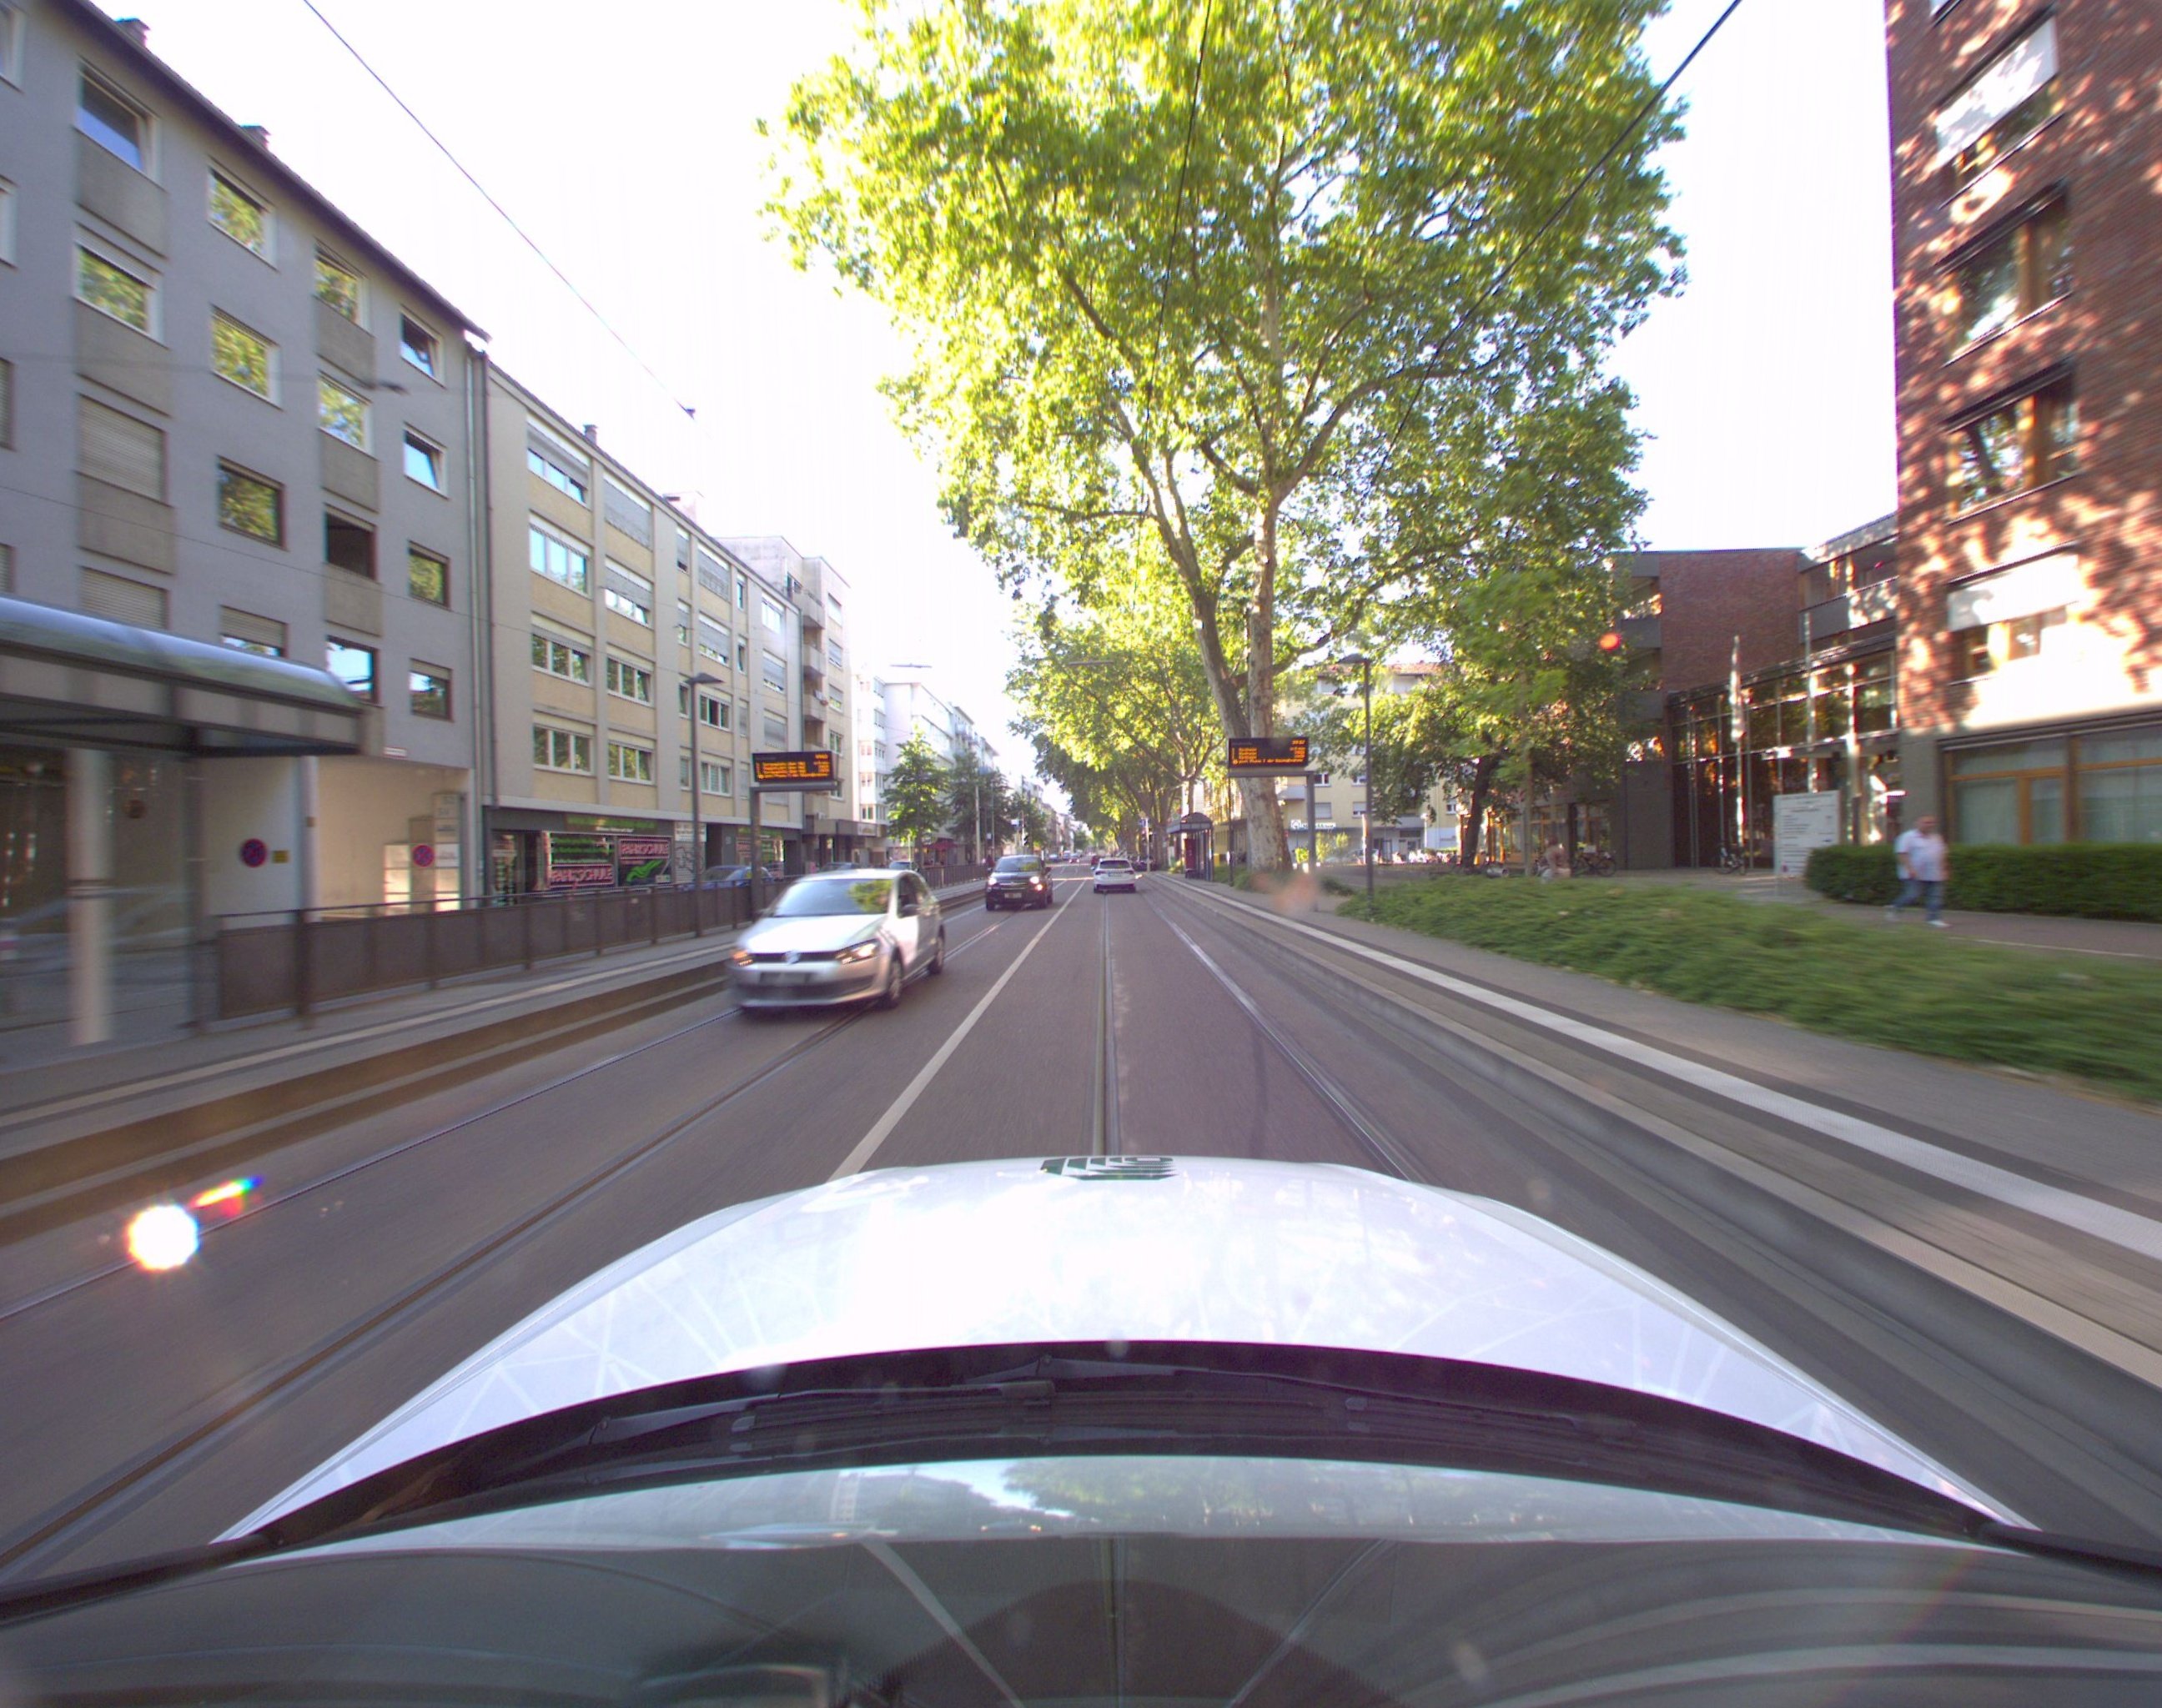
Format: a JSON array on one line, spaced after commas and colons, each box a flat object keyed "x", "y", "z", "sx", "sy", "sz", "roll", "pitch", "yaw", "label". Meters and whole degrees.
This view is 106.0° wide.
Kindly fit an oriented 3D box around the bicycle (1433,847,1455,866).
[{"x": 23.879, "y": 0.158, "z": 53.586, "sx": 0.659, "sy": 1.156, "sz": 1.698, "roll": -3, "pitch": 0, "yaw": 1, "label": "bicycle"}]

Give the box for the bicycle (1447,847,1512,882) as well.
[{"x": 14.533, "y": 0.388, "z": 29.728, "sx": 2.018, "sy": 1.156, "sz": 0.574, "roll": -3, "pitch": 0, "yaw": 11, "label": "bicycle"}]

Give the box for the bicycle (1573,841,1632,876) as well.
[{"x": 19.000, "y": 0.170, "z": 29.682, "sx": 1.669, "sy": 1.156, "sz": 0.573, "roll": -3, "pitch": 0, "yaw": 6, "label": "bicycle"}]

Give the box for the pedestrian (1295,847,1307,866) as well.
[{"x": 18.610, "y": 0.206, "z": 68.981, "sx": 0.694, "sy": 1.539, "sz": 0.695, "roll": -2, "pitch": 0, "yaw": 42, "label": "pedestrian"}]

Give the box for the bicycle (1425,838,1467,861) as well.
[{"x": 19.425, "y": -0.237, "z": 43.344, "sx": 1.913, "sy": 1.156, "sz": 0.575, "roll": -3, "pitch": 0, "yaw": 17, "label": "bicycle"}]

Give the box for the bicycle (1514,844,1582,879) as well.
[{"x": 17.047, "y": 0.264, "z": 29.758, "sx": 2.020, "sy": 1.156, "sz": 0.573, "roll": -3, "pitch": 0, "yaw": 6, "label": "bicycle"}]

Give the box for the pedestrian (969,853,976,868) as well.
[{"x": -12.524, "y": 0.784, "z": 94.348, "sx": 0.661, "sy": 1.691, "sz": 0.748, "roll": -1, "pitch": 0, "yaw": 0, "label": "pedestrian"}]

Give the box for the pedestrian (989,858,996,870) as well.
[{"x": -9.547, "y": 1.091, "z": 87.885, "sx": 0.713, "sy": 1.297, "sz": 0.908, "roll": -2, "pitch": 0, "yaw": -13, "label": "pedestrian"}]

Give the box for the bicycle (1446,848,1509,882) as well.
[{"x": 14.889, "y": 0.408, "z": 30.601, "sx": 2.023, "sy": 1.156, "sz": 0.572, "roll": -3, "pitch": 0, "yaw": 1, "label": "bicycle"}]

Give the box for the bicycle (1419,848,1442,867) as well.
[{"x": 23.034, "y": 0.232, "z": 53.679, "sx": 0.659, "sy": 1.156, "sz": 1.851, "roll": -3, "pitch": 0, "yaw": 1, "label": "bicycle"}]

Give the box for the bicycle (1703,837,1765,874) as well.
[{"x": 22.128, "y": 0.041, "z": 27.645, "sx": 0.701, "sy": 1.156, "sz": 2.044, "roll": -3, "pitch": 0, "yaw": 11, "label": "bicycle"}]

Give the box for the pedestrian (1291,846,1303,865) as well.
[{"x": 18.551, "y": 0.129, "z": 70.088, "sx": 0.704, "sy": 1.682, "sz": 0.656, "roll": -2, "pitch": 0, "yaw": -26, "label": "pedestrian"}]

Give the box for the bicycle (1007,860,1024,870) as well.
[{"x": -6.683, "y": 1.158, "z": 82.576, "sx": 1.687, "sy": 1.007, "sz": 0.657, "roll": 0, "pitch": -1, "yaw": -4, "label": "bicycle"}]

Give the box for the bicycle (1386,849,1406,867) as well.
[{"x": 20.805, "y": 0.246, "z": 53.816, "sx": 0.633, "sy": 1.156, "sz": 1.984, "roll": -3, "pitch": 0, "yaw": 4, "label": "bicycle"}]

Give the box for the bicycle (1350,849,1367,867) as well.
[{"x": 18.479, "y": 0.272, "z": 54.244, "sx": 0.597, "sy": 1.156, "sz": 1.700, "roll": -3, "pitch": 0, "yaw": 4, "label": "bicycle"}]

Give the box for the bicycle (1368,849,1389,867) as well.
[{"x": 19.557, "y": 0.256, "z": 53.600, "sx": 0.598, "sy": 1.156, "sz": 1.696, "roll": -3, "pitch": 0, "yaw": -3, "label": "bicycle"}]

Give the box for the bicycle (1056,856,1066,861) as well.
[{"x": -4.974, "y": 1.124, "z": 201.038, "sx": 2.520, "sy": 1.172, "sz": 0.718, "roll": 1, "pitch": -2, "yaw": -5, "label": "bicycle"}]

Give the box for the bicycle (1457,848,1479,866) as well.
[{"x": 25.270, "y": 0.209, "z": 53.199, "sx": 0.561, "sy": 1.156, "sz": 1.696, "roll": -3, "pitch": 0, "yaw": -3, "label": "bicycle"}]

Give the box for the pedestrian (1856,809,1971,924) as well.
[{"x": 12.613, "y": 0.186, "z": 12.369, "sx": 0.763, "sy": 1.659, "sz": 0.917, "roll": -2, "pitch": 0, "yaw": 1, "label": "pedestrian"}]

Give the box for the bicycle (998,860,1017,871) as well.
[{"x": -7.121, "y": 1.133, "z": 79.010, "sx": 1.825, "sy": 1.007, "sz": 0.657, "roll": 0, "pitch": -1, "yaw": -4, "label": "bicycle"}]

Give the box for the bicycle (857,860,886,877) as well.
[{"x": -15.035, "y": 1.012, "z": 58.482, "sx": 1.849, "sy": 1.156, "sz": 0.573, "roll": -2, "pitch": 0, "yaw": 5, "label": "bicycle"}]

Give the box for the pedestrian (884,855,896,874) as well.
[{"x": -16.577, "y": 0.920, "z": 70.717, "sx": 0.741, "sy": 1.659, "sz": 0.772, "roll": -2, "pitch": 0, "yaw": 16, "label": "pedestrian"}]

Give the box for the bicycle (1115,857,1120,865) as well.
[{"x": 5.331, "y": 0.994, "z": 117.552, "sx": 0.679, "sy": 1.071, "sz": 1.782, "roll": -2, "pitch": 0, "yaw": 2, "label": "bicycle"}]

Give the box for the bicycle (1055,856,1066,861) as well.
[{"x": -5.060, "y": 1.121, "z": 200.182, "sx": 2.545, "sy": 1.172, "sz": 0.873, "roll": 2, "pitch": -2, "yaw": -38, "label": "bicycle"}]

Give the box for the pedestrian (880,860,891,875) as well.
[{"x": -16.808, "y": 1.127, "z": 70.000, "sx": 0.752, "sy": 1.241, "sz": 0.761, "roll": -2, "pitch": 0, "yaw": -32, "label": "pedestrian"}]

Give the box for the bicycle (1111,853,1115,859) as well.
[{"x": 5.996, "y": 0.405, "z": 154.121, "sx": 0.647, "sy": 1.071, "sz": 1.583, "roll": -2, "pitch": 0, "yaw": 0, "label": "bicycle"}]

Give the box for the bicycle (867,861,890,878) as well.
[{"x": -14.755, "y": 1.136, "z": 59.284, "sx": 1.766, "sy": 1.156, "sz": 0.576, "roll": -2, "pitch": 0, "yaw": 32, "label": "bicycle"}]

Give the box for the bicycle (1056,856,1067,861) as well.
[{"x": -4.904, "y": 1.129, "z": 204.817, "sx": 2.520, "sy": 1.172, "sz": 0.718, "roll": 1, "pitch": -2, "yaw": -5, "label": "bicycle"}]

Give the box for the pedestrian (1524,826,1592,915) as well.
[{"x": 9.290, "y": 0.307, "z": 15.901, "sx": 0.763, "sy": 1.659, "sz": 0.917, "roll": -2, "pitch": 0, "yaw": 1, "label": "pedestrian"}]

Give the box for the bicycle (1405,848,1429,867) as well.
[{"x": 22.085, "y": 0.240, "z": 53.563, "sx": 0.727, "sy": 1.156, "sz": 2.052, "roll": -3, "pitch": 0, "yaw": 2, "label": "bicycle"}]
